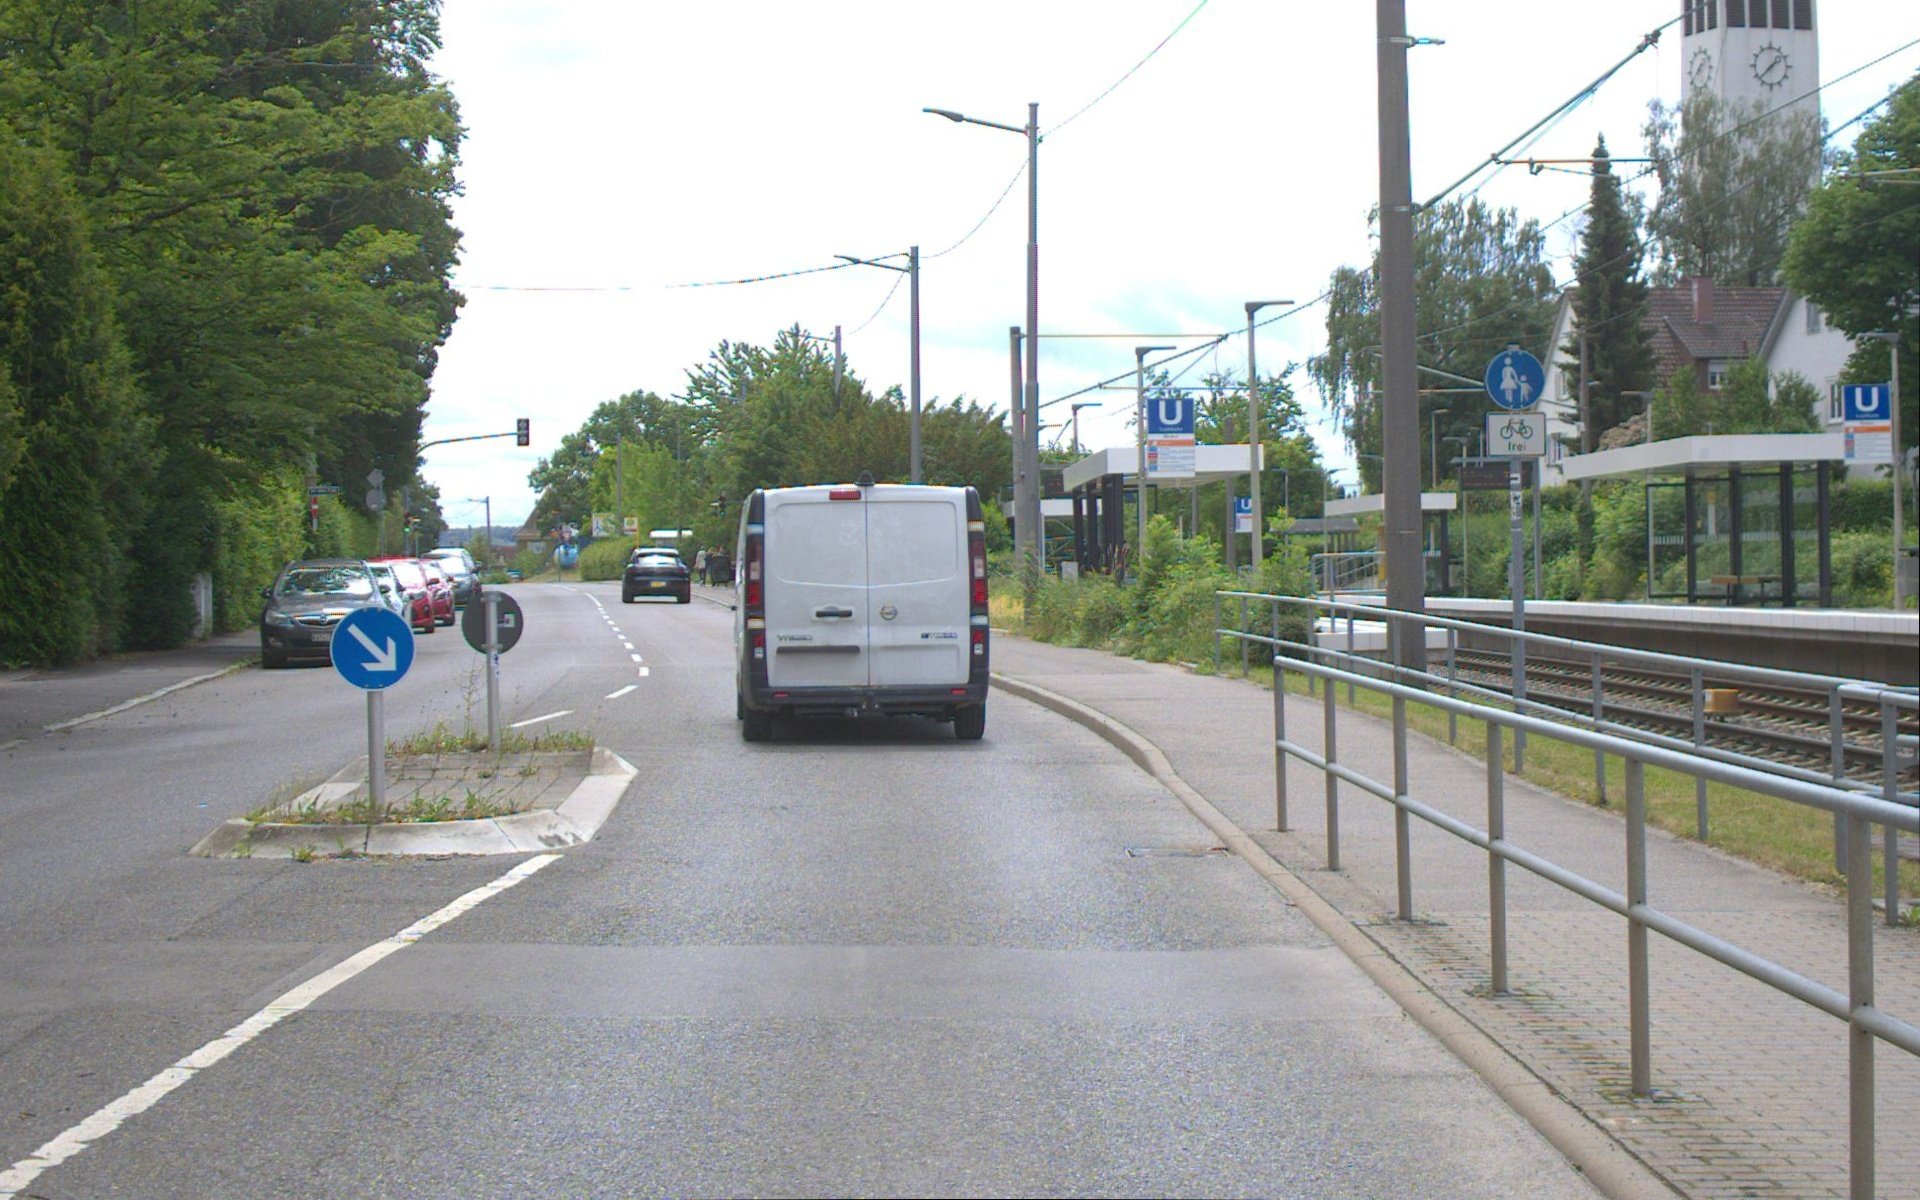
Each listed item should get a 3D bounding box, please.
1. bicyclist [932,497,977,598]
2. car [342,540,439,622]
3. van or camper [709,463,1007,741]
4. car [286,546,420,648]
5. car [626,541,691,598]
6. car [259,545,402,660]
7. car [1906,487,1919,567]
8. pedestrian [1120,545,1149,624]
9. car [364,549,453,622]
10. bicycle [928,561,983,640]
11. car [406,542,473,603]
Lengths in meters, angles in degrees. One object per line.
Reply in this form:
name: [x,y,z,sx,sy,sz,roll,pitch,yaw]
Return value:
bicyclist: [-0.089,-0.863,56.502,0.639,1.644,0.819,0,1,-7]
car: [-11.043,-0.394,66.827,1.588,1.499,3.515,-2,1,-6]
van or camper: [-0.904,0.003,27.389,1.993,2.007,4.446,1,0,-6]
car: [-9.617,-0.079,54.671,1.736,1.499,3.964,-2,1,-6]
car: [-8.907,-0.924,101.812,1.852,1.642,3.735,-1,1,-4]
car: [-8.964,-0.005,49.210,1.736,1.499,4.479,-2,1,-8]
car: [21.613,-1.557,73.360,1.732,1.745,3.935,0,1,0]
pedestrian: [2.955,-0.268,58.332,0.395,1.339,0.487,0,1,-11]
car: [-11.866,-0.340,74.150,1.761,1.466,4.187,-2,1,-8]
bicycle: [-0.078,-0.006,56.603,0.618,1.242,2.396,0,1,-7]
car: [-14.448,-0.787,95.608,1.761,1.620,4.187,-2,1,-8]
